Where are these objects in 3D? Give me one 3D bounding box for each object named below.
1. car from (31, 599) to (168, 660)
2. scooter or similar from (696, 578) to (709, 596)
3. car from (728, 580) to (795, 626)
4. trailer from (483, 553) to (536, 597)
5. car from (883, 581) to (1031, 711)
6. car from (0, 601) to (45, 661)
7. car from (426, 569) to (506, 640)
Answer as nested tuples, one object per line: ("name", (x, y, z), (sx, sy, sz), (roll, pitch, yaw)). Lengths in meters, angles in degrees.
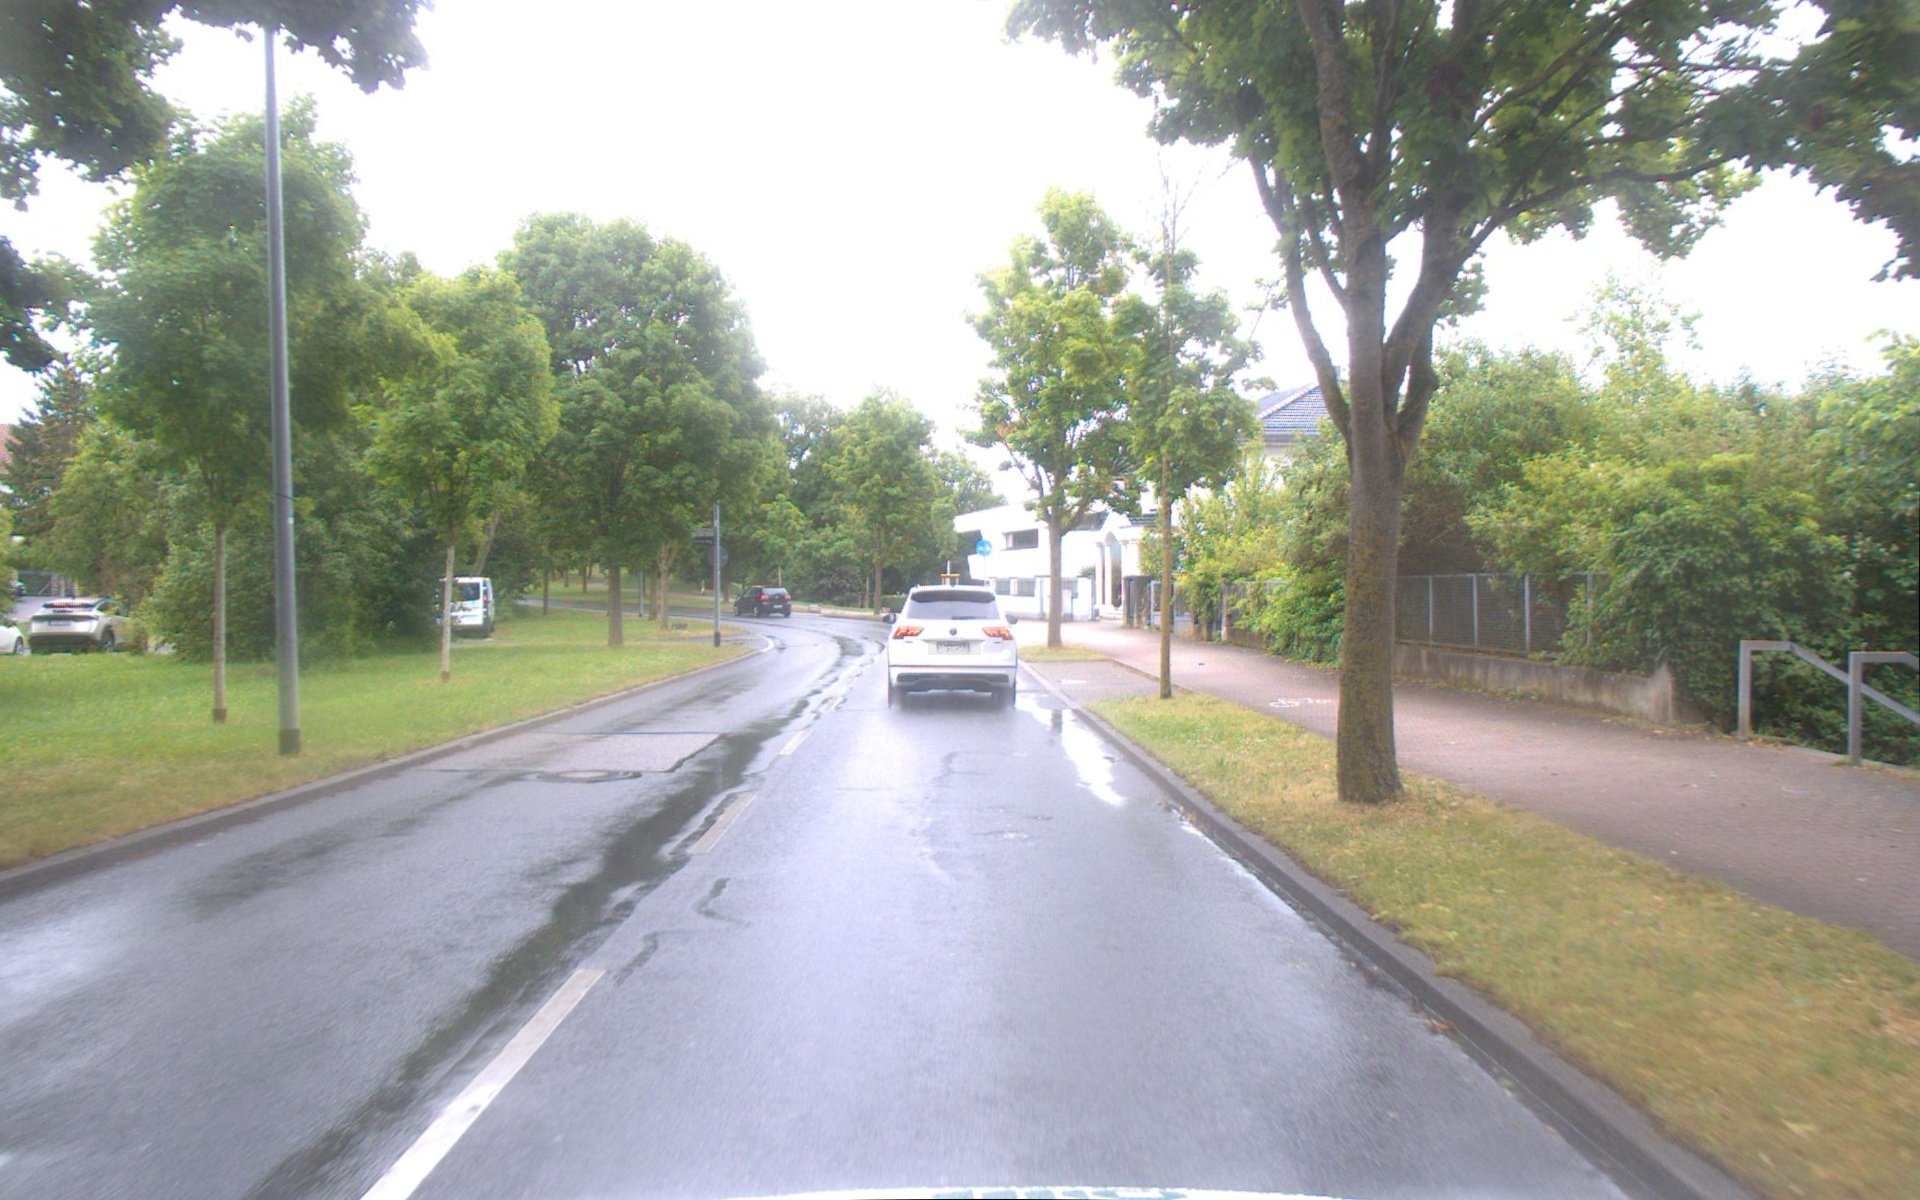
("car", (-23.351, 0.802, 45.090), (1.757, 1.564, 4.993), (0, -1, -9))
("scooter or similar", (-17.651, -0.877, 113.389), (0.457, 1.166, 1.290), (-2, 2, -27))
("car", (-9.409, 0.113, 78.191), (1.879, 2.049, 3.909), (2, 0, -28))
("trailer", (-32.023, -1.823, 117.400), (1.975, 2.855, 5.549), (-6, 5, -31))
("car", (-0.052, 0.600, 24.113), (1.934, 1.681, 4.177), (1, 0, 0))
("car", (-26.711, 0.840, 44.901), (1.818, 1.608, 4.344), (0, 0, -8))
("car", (-16.947, 0.093, 56.976), (2.090, 2.020, 5.460), (-2, 4, -12))
